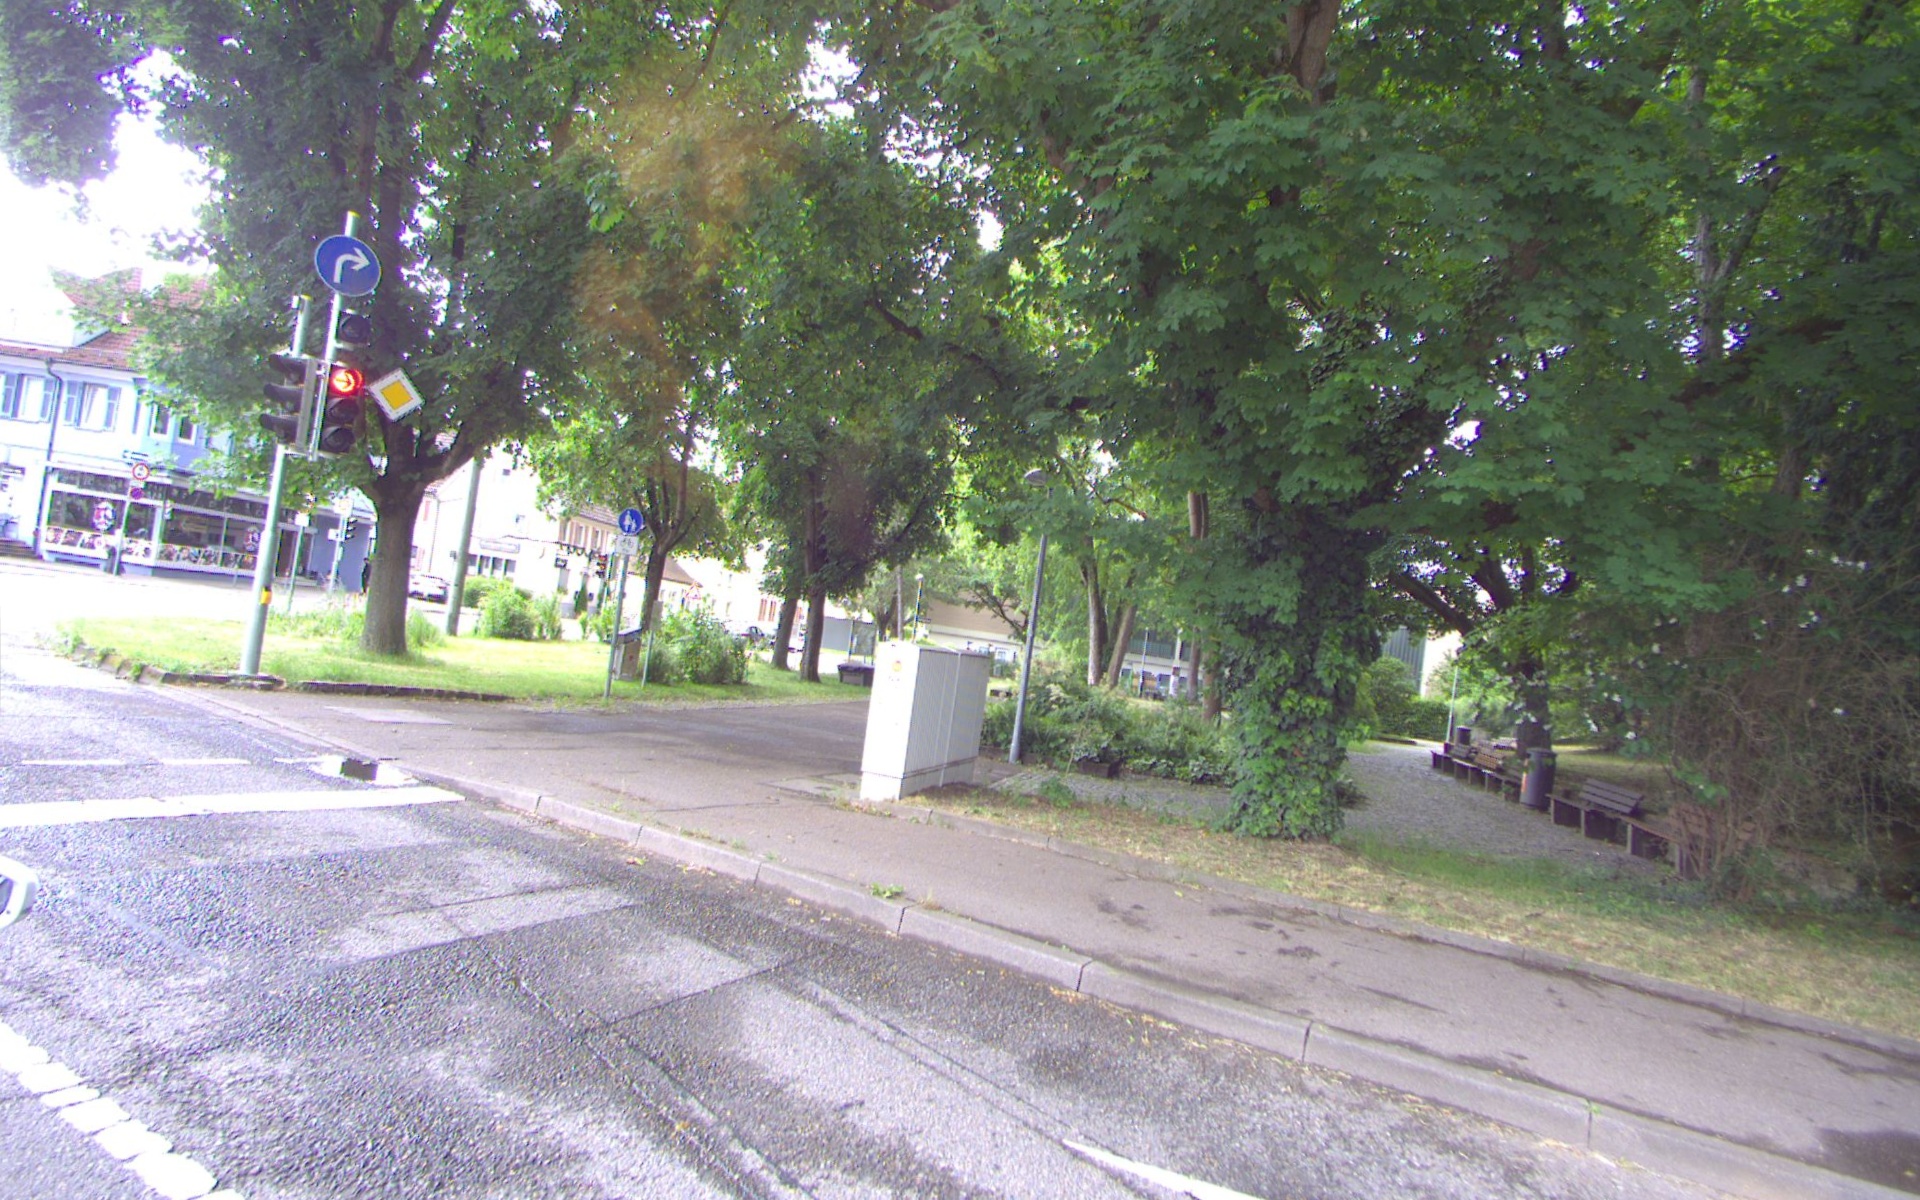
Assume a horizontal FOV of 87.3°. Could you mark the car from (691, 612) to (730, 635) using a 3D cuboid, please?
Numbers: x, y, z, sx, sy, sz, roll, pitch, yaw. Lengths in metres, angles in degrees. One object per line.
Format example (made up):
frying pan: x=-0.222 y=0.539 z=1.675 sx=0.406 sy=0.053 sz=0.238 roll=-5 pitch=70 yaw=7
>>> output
car: x=-18.945 y=1.802 z=76.587 sx=1.736 sy=1.463 sz=3.865 roll=7 pitch=-2 yaw=2

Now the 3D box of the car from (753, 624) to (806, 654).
car: x=-10.700 y=2.340 z=59.912 sx=1.618 sy=1.474 sz=3.740 roll=7 pitch=-2 yaw=13

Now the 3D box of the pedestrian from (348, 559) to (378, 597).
pedestrian: x=-26.972 y=-0.993 z=45.464 sx=0.732 sy=1.578 sz=0.673 roll=6 pitch=-1 yaw=17

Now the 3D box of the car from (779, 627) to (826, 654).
car: x=-10.275 y=2.657 z=66.043 sx=1.618 sy=1.474 sz=3.740 roll=7 pitch=-2 yaw=13

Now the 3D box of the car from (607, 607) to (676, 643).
car: x=-13.937 y=1.115 z=44.132 sx=1.436 sy=1.282 sz=3.014 roll=7 pitch=-2 yaw=13

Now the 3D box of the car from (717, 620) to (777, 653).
car: x=-11.563 y=2.016 z=54.938 sx=1.618 sy=1.474 sz=3.740 roll=7 pitch=-2 yaw=13

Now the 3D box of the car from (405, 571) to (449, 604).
car: x=-28.175 y=-0.688 z=53.164 sx=1.870 sy=1.406 sz=3.589 roll=9 pitch=-2 yaw=-28

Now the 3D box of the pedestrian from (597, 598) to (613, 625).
pedestrian: x=-21.533 y=0.706 z=61.003 sx=0.500 sy=1.578 sz=0.505 roll=6 pitch=-1 yaw=17

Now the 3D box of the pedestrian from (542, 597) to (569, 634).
pedestrian: x=-13.065 y=0.500 z=32.491 sx=0.506 sy=1.093 sz=0.507 roll=6 pitch=-1 yaw=17

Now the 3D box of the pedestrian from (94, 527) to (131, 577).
pedestrian: x=-29.122 y=-1.637 z=34.569 sx=0.688 sy=1.578 sz=0.662 roll=7 pitch=-1 yaw=-27
